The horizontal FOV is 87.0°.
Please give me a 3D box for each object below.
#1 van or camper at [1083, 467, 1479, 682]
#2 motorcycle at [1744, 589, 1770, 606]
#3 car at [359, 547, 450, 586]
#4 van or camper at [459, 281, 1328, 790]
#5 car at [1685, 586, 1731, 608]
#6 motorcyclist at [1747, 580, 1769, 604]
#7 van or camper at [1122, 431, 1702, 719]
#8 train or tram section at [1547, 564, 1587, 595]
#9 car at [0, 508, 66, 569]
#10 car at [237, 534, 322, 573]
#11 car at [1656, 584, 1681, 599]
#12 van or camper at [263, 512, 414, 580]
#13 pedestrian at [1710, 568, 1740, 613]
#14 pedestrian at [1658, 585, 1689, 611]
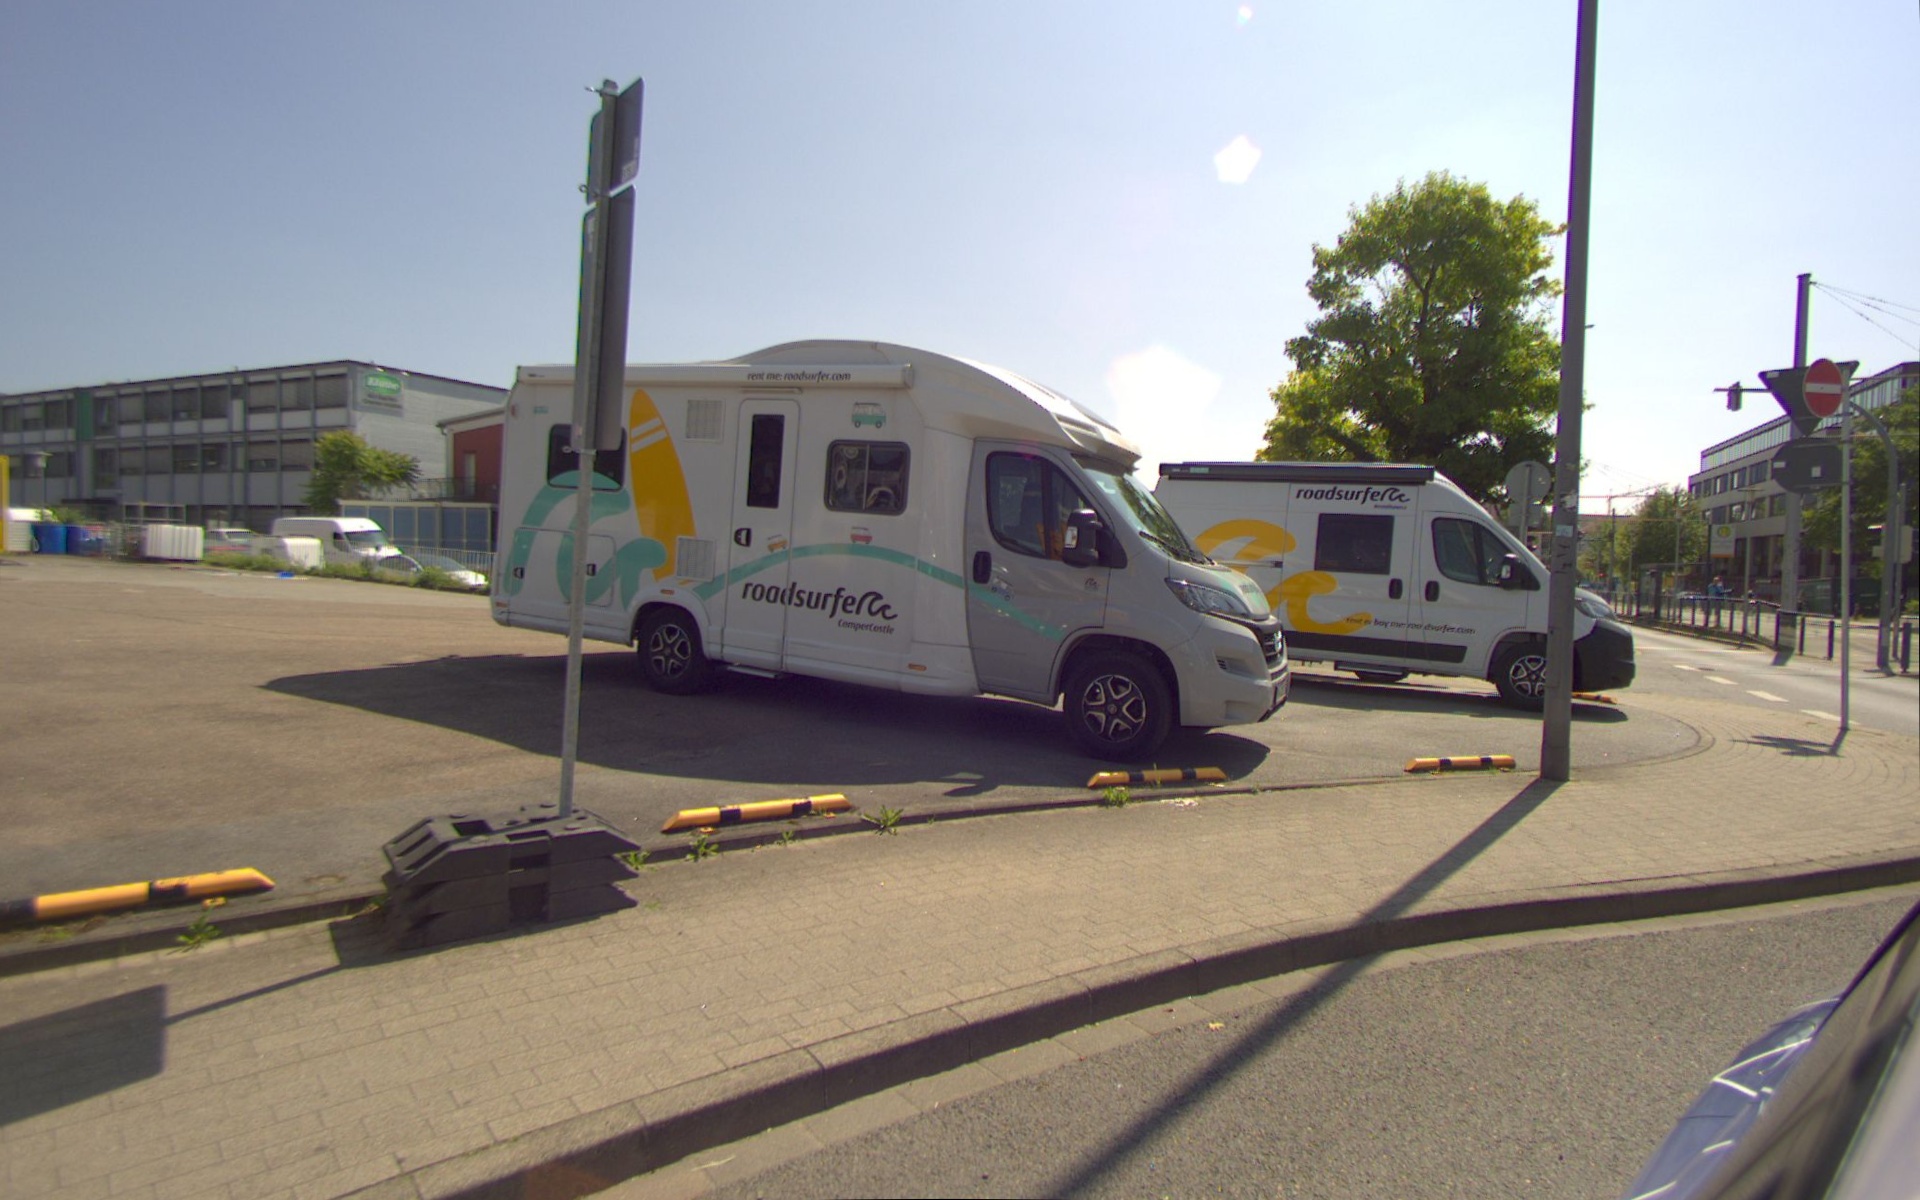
[{"bbox_3d":[4.873,-0.424,15.657,5.478,2.850,2.026,2,0,30],"label":"van or camper"},{"bbox_3d":[51.077,-0.173,64.881,0.816,1.023,1.947,2,2,25],"label":"motorcycle"},{"bbox_3d":[-17.853,-1.081,32.505,2.830,1.108,1.169,3,2,27],"label":"car"},{"bbox_3d":[-0.810,-0.658,8.535,7.016,2.981,2.314,5,3,26],"label":"van or camper"},{"bbox_3d":[58.691,-0.272,79.512,1.894,1.459,4.557,5,3,25],"label":"car"},{"bbox_3d":[51.048,-0.510,64.751,0.830,1.493,0.955,2,2,25],"label":"motorcyclist"},{"bbox_3d":[5.094,-0.402,12.165,5.779,2.808,2.070,4,1,29],"label":"van or camper"},{"bbox_3d":[75.145,-2.541,125.450,2.654,3.527,12.226,3,2,24],"label":"train or tram section"},{"bbox_3d":[-42.576,-2.767,45.377,5.560,2.557,2.089,3,2,30],"label":"car"},{"bbox_3d":[-23.931,-1.653,35.597,2.910,1.264,1.213,3,2,27],"label":"car"},{"bbox_3d":[81.104,-0.974,115.869,1.986,1.642,3.954,4,3,32],"label":"car"},{"bbox_3d":[-26.471,-2.296,43.051,6.677,2.712,2.325,3,2,27],"label":"van or camper"},{"bbox_3d":[30.274,-0.399,40.043,0.719,1.746,0.936,1,1,25],"label":"pedestrian"},{"bbox_3d":[31.694,-0.086,44.960,0.936,1.113,0.720,3,2,25],"label":"pedestrian"}]
